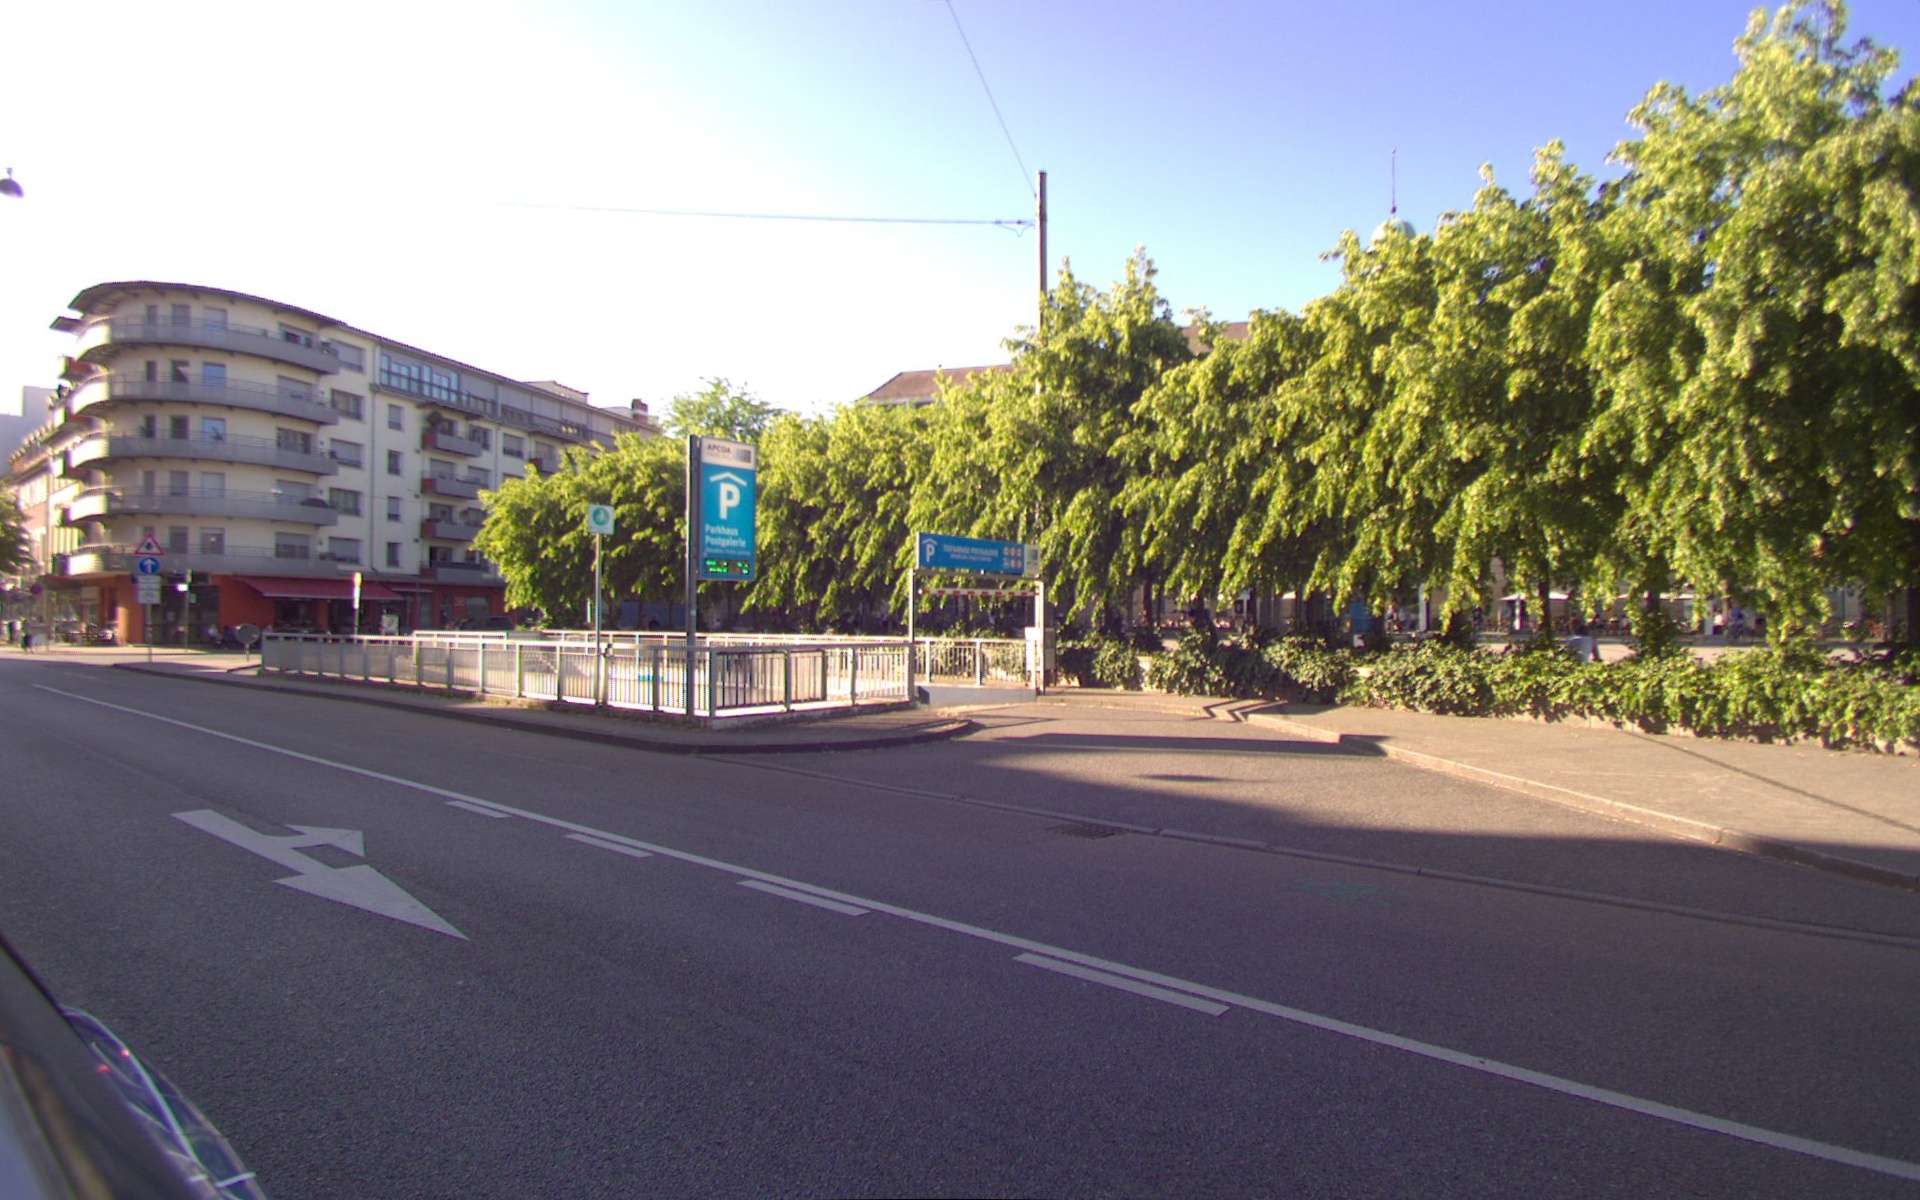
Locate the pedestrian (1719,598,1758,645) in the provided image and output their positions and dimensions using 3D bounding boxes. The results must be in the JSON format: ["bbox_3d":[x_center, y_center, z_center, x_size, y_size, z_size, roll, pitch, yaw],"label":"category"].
[{"bbox_3d":[29.733,0.836,38.649,0.889,1.771,0.734,-1,-1,10],"label":"pedestrian"}]

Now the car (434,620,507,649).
[{"bbox_3d":[-30.523,2.128,63.206,1.983,1.763,3.977,-1,-1,17],"label":"car"}]

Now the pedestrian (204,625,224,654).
[{"bbox_3d":[-37.735,1.983,51.204,0.780,1.472,0.583,0,-1,-40],"label":"pedestrian"}]

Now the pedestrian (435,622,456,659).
[{"bbox_3d":[-24.202,1.896,47.607,0.697,1.719,0.667,-1,-1,33],"label":"pedestrian"}]

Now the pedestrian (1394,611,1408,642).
[{"bbox_3d":[27.911,1.687,64.048,0.751,1.948,0.938,-1,-1,20],"label":"pedestrian"}]

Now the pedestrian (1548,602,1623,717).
[{"bbox_3d":[9.983,0.924,16.149,0.885,1.771,0.738,0,-1,-39],"label":"pedestrian"}]

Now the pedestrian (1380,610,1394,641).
[{"bbox_3d":[27.159,1.593,64.367,0.751,1.948,0.938,-1,-1,20],"label":"pedestrian"}]

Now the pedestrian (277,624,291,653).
[{"bbox_3d":[-35.312,2.017,52.894,0.573,1.501,0.794,0,-1,-36],"label":"pedestrian"}]

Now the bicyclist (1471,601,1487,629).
[{"bbox_3d":[26.745,0.770,52.171,0.670,1.439,0.691,-1,-1,29],"label":"bicyclist"}]

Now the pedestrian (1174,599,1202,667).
[{"bbox_3d":[5.761,0.834,25.568,0.672,1.683,0.843,-1,-1,13],"label":"pedestrian"}]

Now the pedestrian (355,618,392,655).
[{"bbox_3d":[-32.372,2.003,55.872,1.251,2.029,1.226,-1,-1,19],"label":"pedestrian"}]

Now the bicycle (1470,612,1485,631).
[{"bbox_3d":[26.641,1.132,52.103,0.587,0.961,1.887,-1,-2,30],"label":"bicycle"}]

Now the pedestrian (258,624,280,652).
[{"bbox_3d":[-36.733,2.021,53.774,0.782,1.473,0.582,0,-1,3],"label":"pedestrian"}]

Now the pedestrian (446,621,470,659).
[{"bbox_3d":[-23.932,1.904,48.231,0.753,1.819,0.748,-1,-1,25],"label":"pedestrian"}]

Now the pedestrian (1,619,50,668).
[{"bbox_3d":[-40.423,1.875,43.794,1.005,2.029,1.201,-1,0,-6],"label":"pedestrian"}]
